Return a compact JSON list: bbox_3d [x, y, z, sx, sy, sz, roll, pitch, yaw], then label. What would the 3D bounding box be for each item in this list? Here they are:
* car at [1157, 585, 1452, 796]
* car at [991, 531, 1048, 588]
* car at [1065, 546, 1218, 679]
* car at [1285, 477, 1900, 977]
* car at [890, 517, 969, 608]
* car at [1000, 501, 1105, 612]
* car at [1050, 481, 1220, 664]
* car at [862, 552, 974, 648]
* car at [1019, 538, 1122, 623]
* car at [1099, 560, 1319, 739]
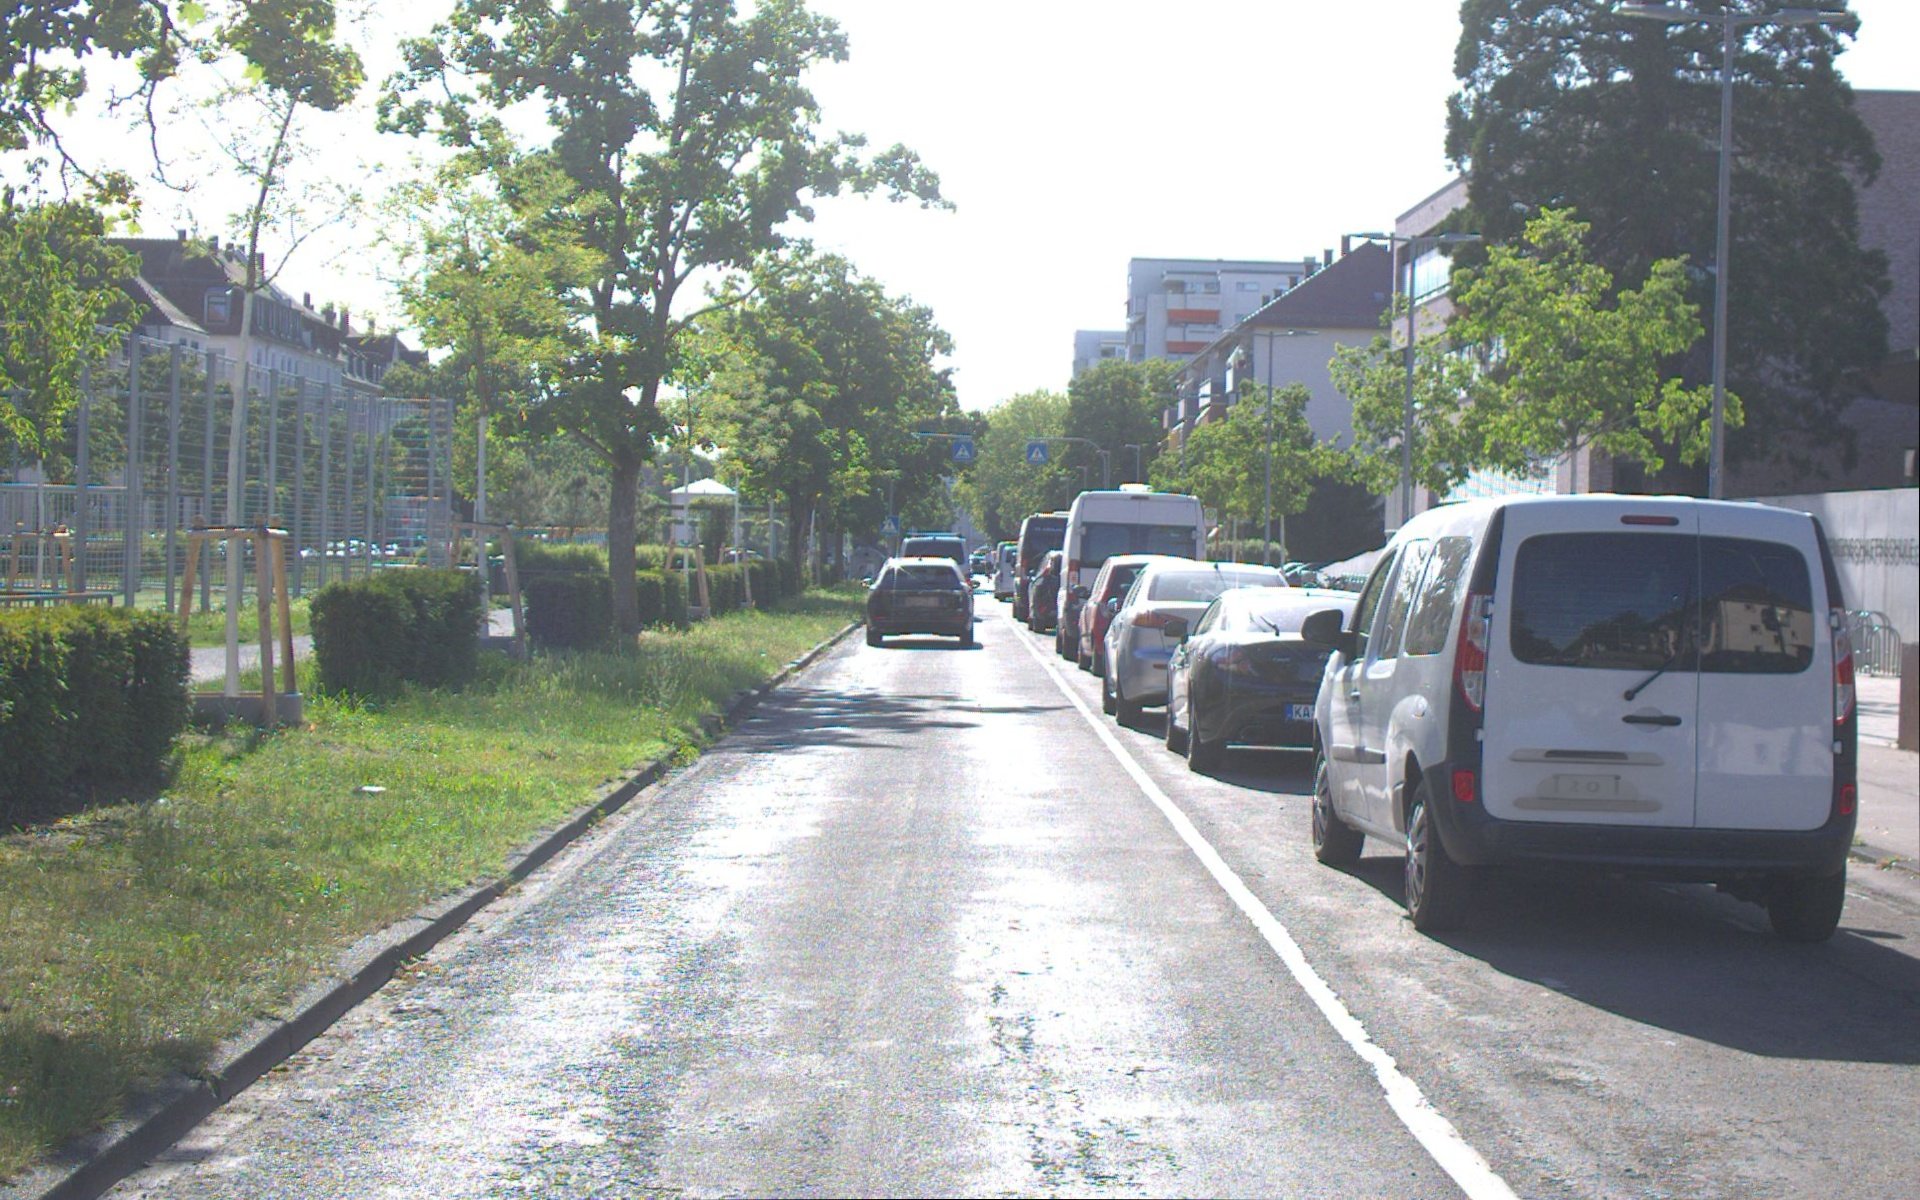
[{"bbox_3d":[2.470,0.608,25.524,1.701,1.321,4.130,2,1,0],"label":"car"},{"bbox_3d":[2.015,-1.377,115.690,1.794,1.848,4.413,2,1,2],"label":"car"},{"bbox_3d":[2.314,0.128,44.629,1.619,1.583,3.592,2,1,-2],"label":"car"},{"bbox_3d":[2.693,0.454,15.713,1.808,1.902,4.462,2,1,-2],"label":"car"},{"bbox_3d":[-0.718,-0.929,83.375,1.794,2.115,4.000,1,1,0],"label":"car"},{"bbox_3d":[2.162,-1.060,82.053,2.115,2.507,6.533,1,1,-1],"label":"car"},{"bbox_3d":[2.599,-0.442,52.382,2.241,2.565,5.432,2,1,0],"label":"car"},{"bbox_3d":[-0.681,-0.022,58.286,1.794,1.505,4.000,1,1,0],"label":"car"},{"bbox_3d":[2.215,-0.415,69.951,1.846,1.634,4.504,1,1,-1],"label":"car"},{"bbox_3d":[2.245,0.404,31.977,1.701,1.473,4.174,2,1,0],"label":"car"}]
